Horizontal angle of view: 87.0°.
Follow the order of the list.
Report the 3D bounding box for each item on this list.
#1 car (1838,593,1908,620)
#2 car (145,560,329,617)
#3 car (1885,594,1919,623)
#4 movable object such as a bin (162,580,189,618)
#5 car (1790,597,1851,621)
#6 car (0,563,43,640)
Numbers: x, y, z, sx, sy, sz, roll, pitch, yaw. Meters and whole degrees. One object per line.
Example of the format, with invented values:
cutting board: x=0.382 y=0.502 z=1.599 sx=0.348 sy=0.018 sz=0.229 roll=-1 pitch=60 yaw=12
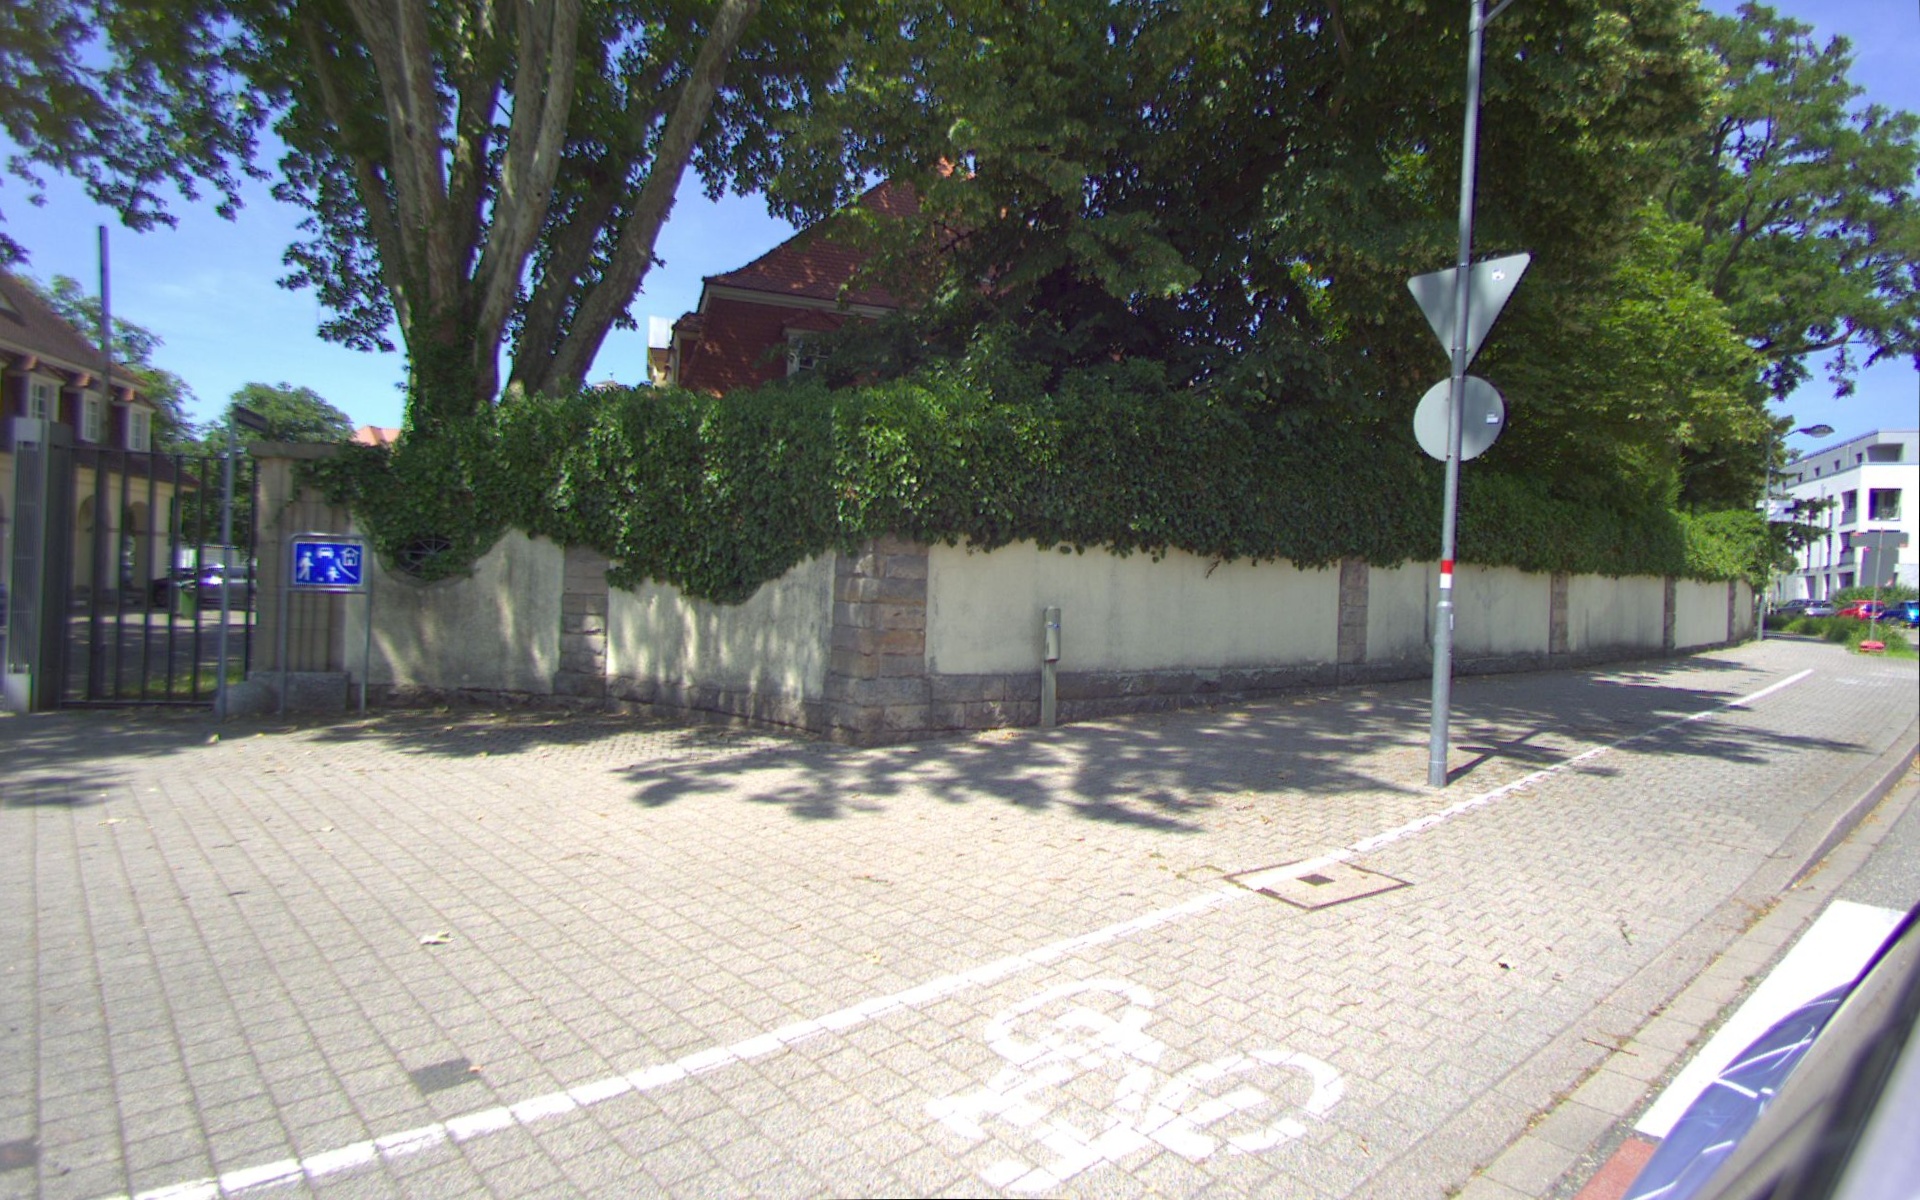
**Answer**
car: x=52.963 y=0.345 z=58.763 sx=1.685 sy=1.431 sz=3.698 roll=1 pitch=1 yaw=19
car: x=-23.739 y=-0.370 z=33.415 sx=4.407 sy=1.420 sz=2.004 roll=6 pitch=0 yaw=-14
car: x=50.990 y=0.451 z=53.520 sx=1.685 sy=1.431 sz=3.698 roll=1 pitch=1 yaw=19
movable object such as a bin: x=-21.438 y=-0.027 z=27.647 sx=0.526 sy=1.021 sz=0.529 roll=1 pitch=1 yaw=45
car: x=55.096 y=0.541 z=64.881 sx=1.685 sy=1.431 sz=3.698 roll=1 pitch=1 yaw=19
car: x=-20.319 y=-0.155 z=18.757 sx=4.407 sy=1.420 sz=2.004 roll=6 pitch=0 yaw=-14
